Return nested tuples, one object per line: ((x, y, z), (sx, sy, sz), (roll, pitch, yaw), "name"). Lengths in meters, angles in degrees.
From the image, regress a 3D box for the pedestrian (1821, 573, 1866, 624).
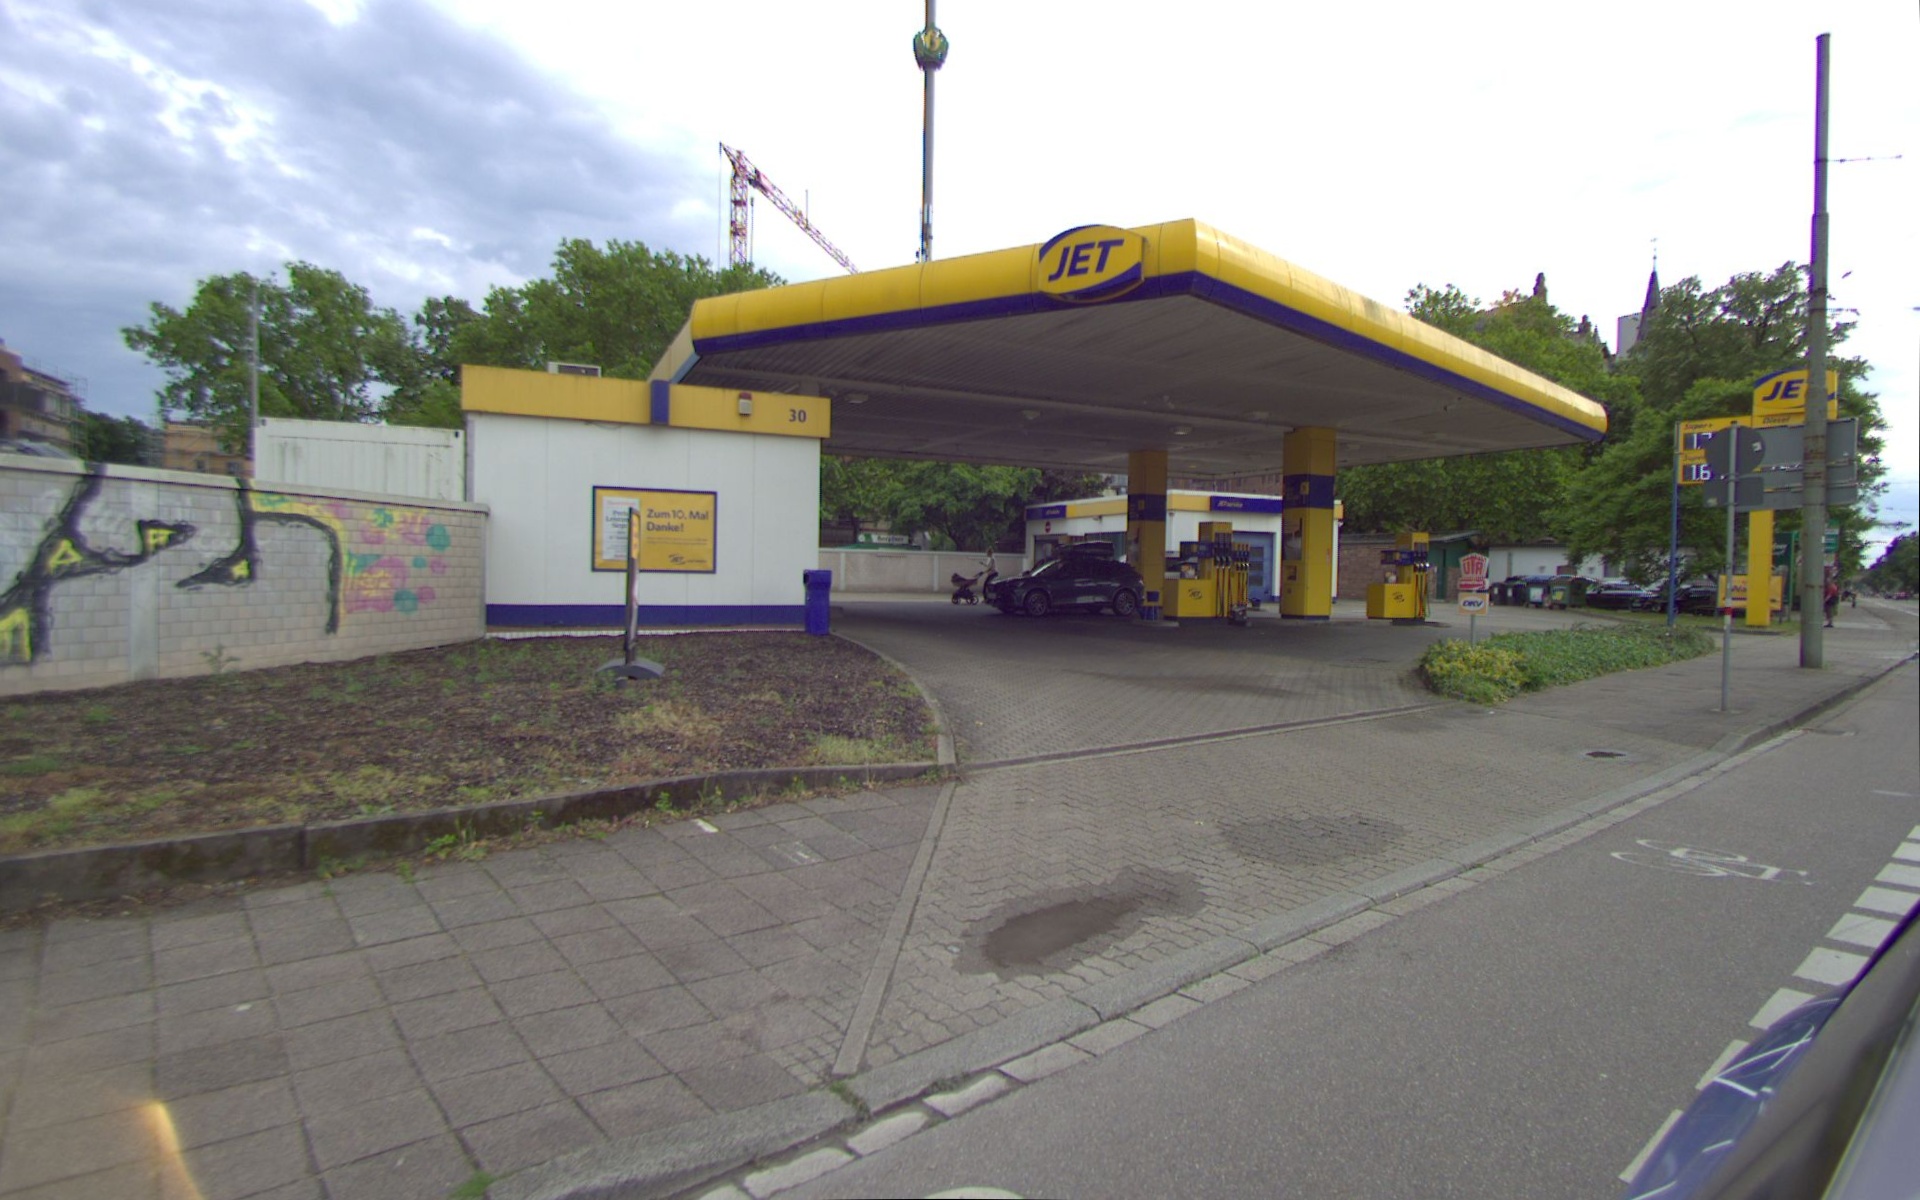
((32.400, -0.068, 37.134), (0.858, 1.768, 0.847), (4, 4, 17), "pedestrian")

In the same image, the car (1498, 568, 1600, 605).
((27.790, -0.645, 47.785), (3.942, 1.716, 1.815), (0, 1, -11), "car")

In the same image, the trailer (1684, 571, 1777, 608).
((36.461, -0.530, 47.908), (3.283, 1.549, 1.747), (4, 6, 43), "trailer")

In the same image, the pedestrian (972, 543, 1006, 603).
((0.923, -0.868, 32.607), (0.952, 1.842, 0.603), (4, 1, 1), "pedestrian")

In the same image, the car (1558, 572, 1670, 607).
((29.399, -0.483, 45.549), (3.919, 1.536, 1.829), (0, 1, -7), "car")

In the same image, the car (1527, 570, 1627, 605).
((30.759, -0.646, 50.497), (3.986, 1.687, 1.969), (1, 2, 43), "car")

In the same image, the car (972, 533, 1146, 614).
((2.613, -0.713, 26.608), (4.165, 2.012, 1.829), (0, 3, -24), "car")

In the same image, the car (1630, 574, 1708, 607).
((29.937, -0.437, 42.675), (3.934, 1.304, 1.995), (-1, 2, -44), "car")

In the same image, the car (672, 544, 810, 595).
((-8.115, -1.104, 37.556), (4.662, 1.616, 1.946), (2, 1, -24), "car")

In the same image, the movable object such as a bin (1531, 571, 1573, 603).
((25.997, -0.583, 44.451), (1.136, 1.375, 1.123), (0, 1, -13), "movable object such as a bin")

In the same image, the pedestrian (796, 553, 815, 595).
((-5.872, -0.980, 38.473), (0.539, 1.563, 0.500), (2, 0, -20), "pedestrian")

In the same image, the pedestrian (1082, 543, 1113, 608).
((3.887, -0.695, 28.592), (0.614, 1.809, 0.709), (0, 1, -20), "pedestrian")

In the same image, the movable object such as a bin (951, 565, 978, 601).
((0.137, -0.545, 32.598), (0.781, 1.079, 0.603), (4, 1, 0), "movable object such as a bin")

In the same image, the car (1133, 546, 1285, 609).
((8.311, -0.750, 33.863), (4.432, 1.865, 1.993), (2, 3, -18), "car")

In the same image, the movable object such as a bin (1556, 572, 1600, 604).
((26.431, -0.527, 43.267), (1.136, 1.336, 1.123), (0, 1, -13), "movable object such as a bin")
